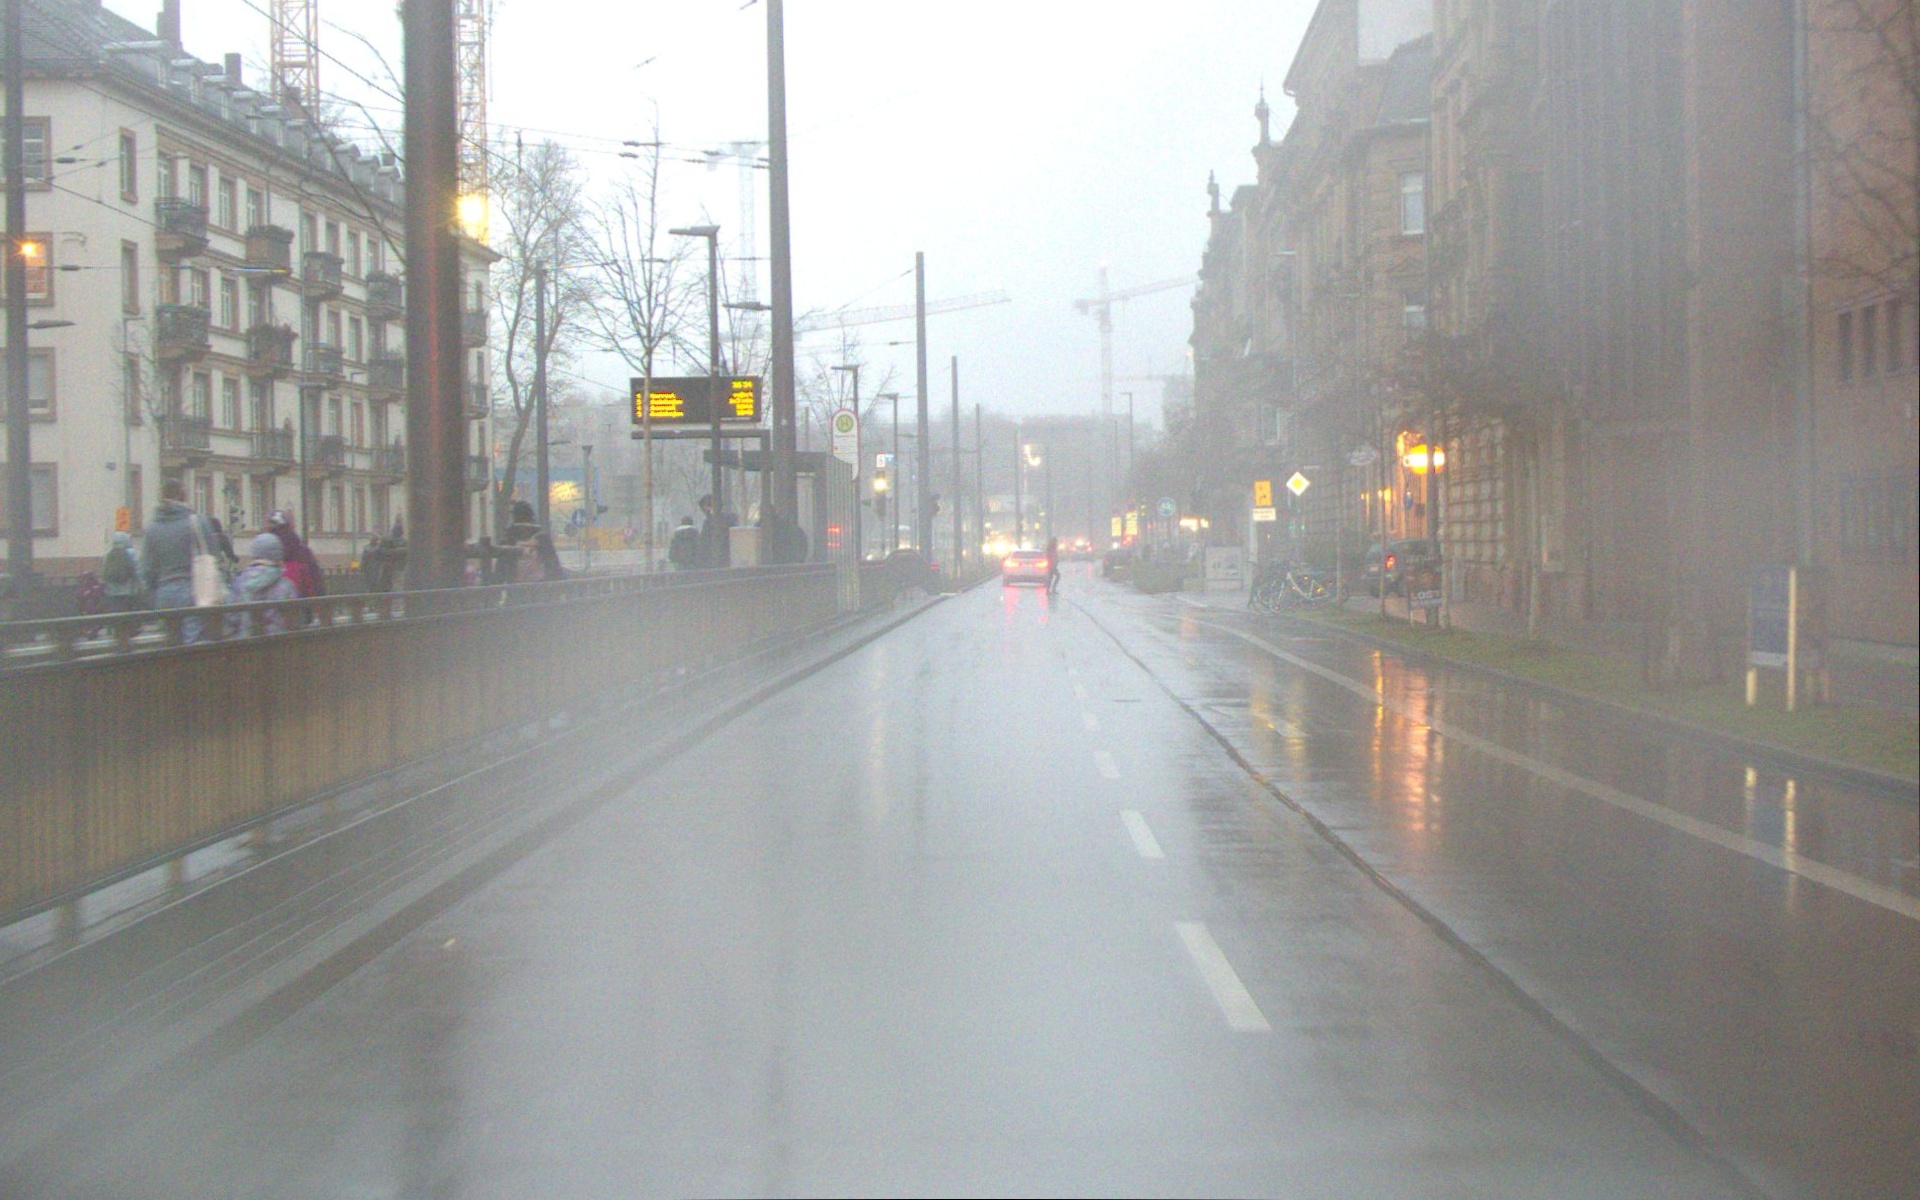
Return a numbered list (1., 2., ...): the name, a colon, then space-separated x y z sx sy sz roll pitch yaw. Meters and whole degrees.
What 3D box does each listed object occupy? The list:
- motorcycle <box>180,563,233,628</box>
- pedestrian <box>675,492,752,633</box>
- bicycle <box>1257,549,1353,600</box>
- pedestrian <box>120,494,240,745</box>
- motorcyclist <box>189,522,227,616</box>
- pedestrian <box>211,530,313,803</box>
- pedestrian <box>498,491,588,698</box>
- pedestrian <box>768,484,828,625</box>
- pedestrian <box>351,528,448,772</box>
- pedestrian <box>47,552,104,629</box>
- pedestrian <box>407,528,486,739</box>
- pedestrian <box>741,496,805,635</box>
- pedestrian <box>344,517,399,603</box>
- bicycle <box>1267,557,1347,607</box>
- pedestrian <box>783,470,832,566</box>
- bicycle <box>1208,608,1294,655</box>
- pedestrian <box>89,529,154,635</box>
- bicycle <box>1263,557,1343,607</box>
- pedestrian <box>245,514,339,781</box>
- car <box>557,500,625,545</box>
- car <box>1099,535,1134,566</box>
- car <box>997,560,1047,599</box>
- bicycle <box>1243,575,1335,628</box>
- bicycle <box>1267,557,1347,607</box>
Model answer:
1. motorcycle: -12.027 -0.083 54.921 0.512 1.005 1.807 1 1 -2
2. pedestrian: -3.012 -0.460 41.963 0.776 1.698 0.773 0 1 -17
3. bicycle: 8.029 -0.587 80.040 2.144 1.051 0.425 -3 2 1
4. pedestrian: -5.001 0.118 22.072 0.618 1.584 0.622 0 1 -1
5. motorcyclist: -12.018 -0.502 54.923 0.499 1.490 0.556 1 1 -3
6. pedestrian: -4.121 0.383 20.323 0.481 1.584 0.563 0 1 -1
7. pedestrian: -3.465 -0.051 28.552 0.645 1.698 0.568 0 1 -16
8. pedestrian: -2.445 -0.691 51.959 0.809 2.103 0.804 -1 1 2
9. pedestrian: -3.689 0.322 22.640 0.540 1.584 0.563 0 1 -1
10. pedestrian: -12.755 -0.143 49.572 0.607 1.099 0.591 0 1 -39
11. pedestrian: -4.159 0.267 27.872 0.540 1.686 0.643 0 1 -1
12. pedestrian: -2.627 -0.487 48.463 0.809 1.941 0.804 -1 1 2
13. pedestrian: -12.236 -0.842 71.506 0.795 1.773 0.822 0 1 -40
14. bicycle: 7.756 -0.396 76.839 1.730 1.051 0.371 -2 1 1
15. pedestrian: -2.403 -1.294 54.204 0.679 1.511 0.619 0 1 -11
16. bicycle: 7.159 0.771 84.525 2.087 1.048 0.478 -3 1 -24
17. pedestrian: -12.124 -0.261 49.724 0.634 1.519 0.756 0 1 -40
18. bicycle: 7.707 -0.402 77.342 1.730 1.051 0.371 -2 1 1
19. pedestrian: -4.241 0.294 21.845 0.481 1.673 0.563 0 1 -1
20. car: -11.281 -2.363 105.231 1.682 1.349 3.546 0 1 1
21. car: 8.431 -2.662 184.872 1.799 1.598 3.769 -1 1 4
22. car: 2.429 -0.809 133.540 1.784 1.462 3.148 -1 1 3
23. bicycle: 7.546 0.030 78.913 2.008 1.091 0.425 -4 1 1
24. bicycle: 7.842 -0.403 77.789 1.730 1.051 0.371 -2 1 1
